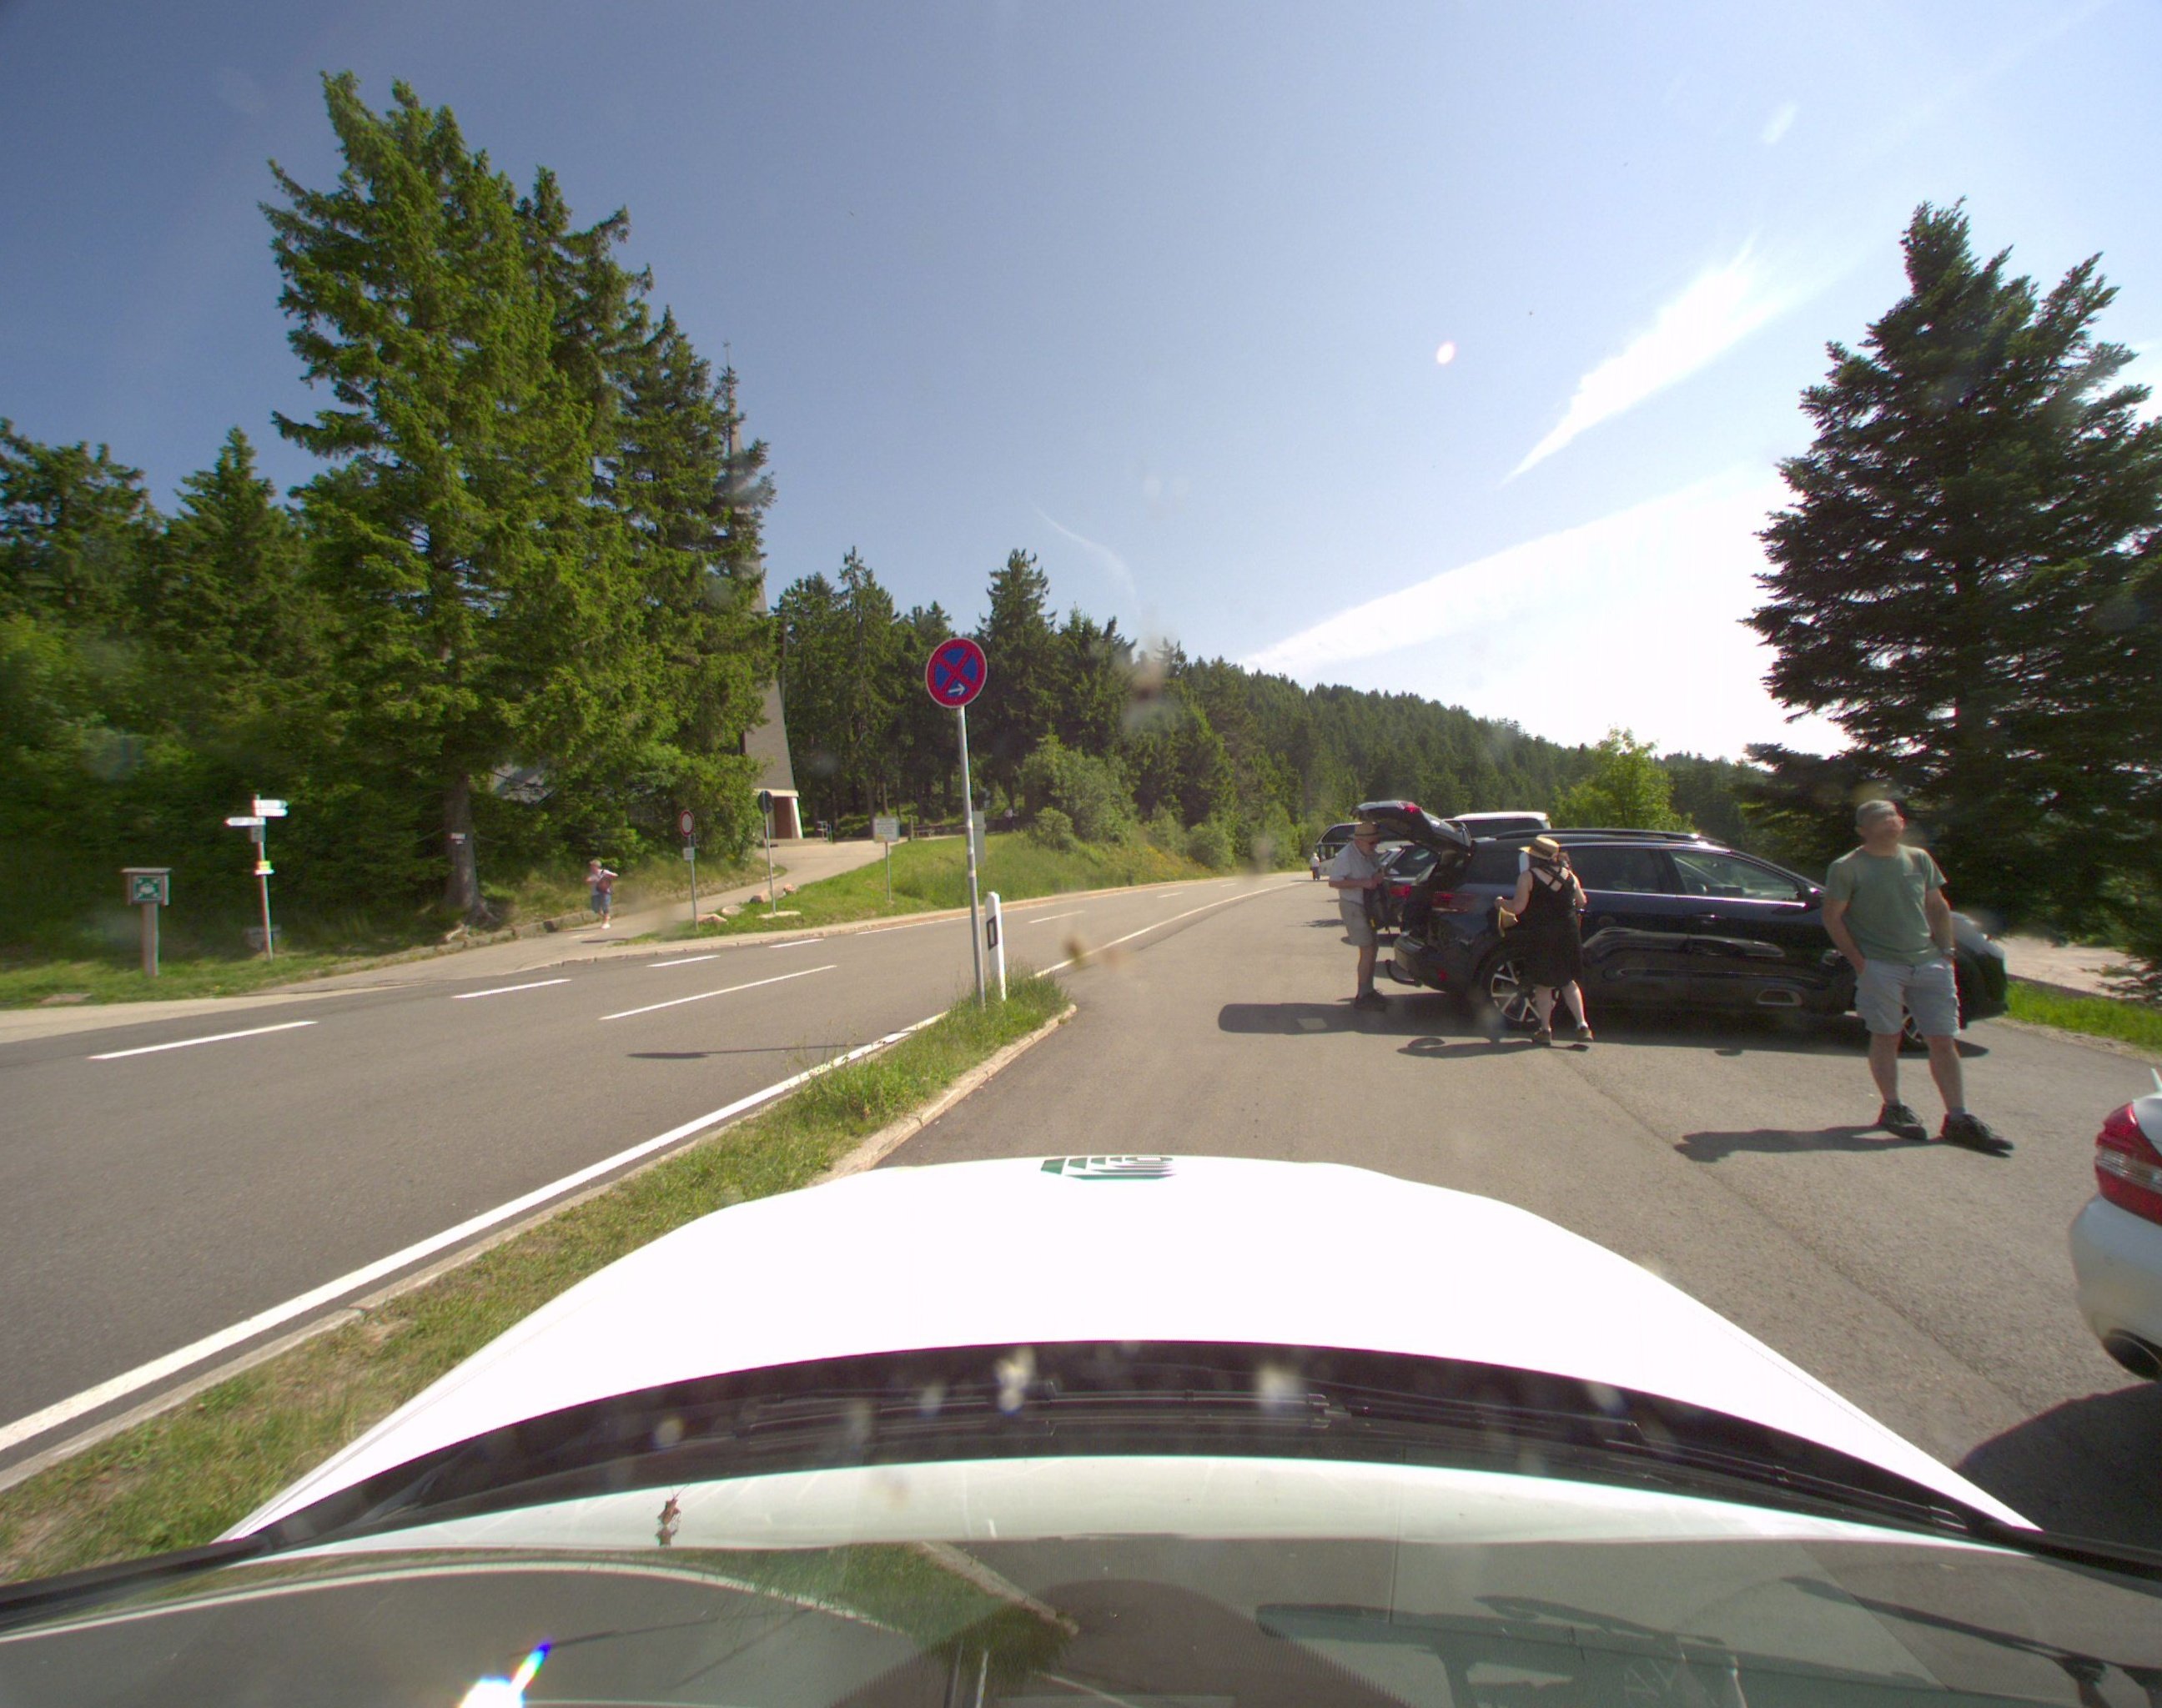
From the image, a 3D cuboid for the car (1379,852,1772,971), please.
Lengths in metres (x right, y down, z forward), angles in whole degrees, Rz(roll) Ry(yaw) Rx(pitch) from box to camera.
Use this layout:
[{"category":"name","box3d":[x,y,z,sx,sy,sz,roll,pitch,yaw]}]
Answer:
[{"category":"car","box3d":[6.176,0.674,10.629,4.057,1.376,1.706,0,0,9]}]

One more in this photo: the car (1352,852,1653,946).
[{"category":"car","box3d":[6.624,0.668,13.247,4.054,1.376,1.708,0,0,12]}]

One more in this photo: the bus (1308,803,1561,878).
[{"category":"bus","box3d":[20.232,-0.631,47.385,12.969,3.533,3.062,-3,-1,28]}]

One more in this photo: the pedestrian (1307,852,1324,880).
[{"category":"pedestrian","box3d":[13.909,0.721,48.356,0.763,1.585,0.777,-3,-1,25]}]

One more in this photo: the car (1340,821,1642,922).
[{"category":"car","box3d":[7.675,0.362,15.787,4.907,1.695,1.955,-2,-1,20]}]

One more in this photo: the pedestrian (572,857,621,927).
[{"category":"pedestrian","box3d":[-11.998,0.933,20.175,0.715,1.681,0.684,-3,-1,10]}]

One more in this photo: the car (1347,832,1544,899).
[{"category":"car","box3d":[10.423,0.345,23.743,4.993,1.651,2.057,-3,-1,18]}]

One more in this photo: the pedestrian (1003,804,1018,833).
[{"category":"pedestrian","box3d":[-4.762,-2.400,54.984,0.674,1.878,0.545,-4,-1,45]}]

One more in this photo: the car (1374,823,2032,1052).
[{"category":"car","box3d":[5.029,0.598,7.310,4.314,1.626,1.876,1,-1,12]}]

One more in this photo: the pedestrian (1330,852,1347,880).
[{"category":"pedestrian","box3d":[15.118,0.687,47.828,0.763,1.585,0.777,-3,-1,25]}]

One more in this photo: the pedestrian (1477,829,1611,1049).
[{"category":"pedestrian","box3d":[3.555,0.628,6.290,0.712,1.613,0.536,0,-1,-2]}]

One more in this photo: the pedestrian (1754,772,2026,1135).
[{"category":"pedestrian","box3d":[4.360,0.499,4.462,0.741,1.800,0.737,0,-1,8]}]

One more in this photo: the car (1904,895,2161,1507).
[{"category":"car","box3d":[4.562,0.790,1.607,4.390,1.296,1.753,0,1,-5]}]

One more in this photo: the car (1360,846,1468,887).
[{"category":"car","box3d":[13.718,0.517,33.769,3.955,1.449,1.870,-3,-1,18]}]

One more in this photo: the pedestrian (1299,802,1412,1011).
[{"category":"pedestrian","box3d":[2.624,0.450,7.772,0.762,1.870,0.728,-3,3,-42]}]

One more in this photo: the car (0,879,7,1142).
[{"category":"car","box3d":[-7.624,0.907,2.569,1.865,1.474,4.734,-2,0,16]}]

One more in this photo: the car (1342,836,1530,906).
[{"category":"car","box3d":[9.003,0.435,21.030,4.209,1.554,1.847,-3,-1,18]}]
